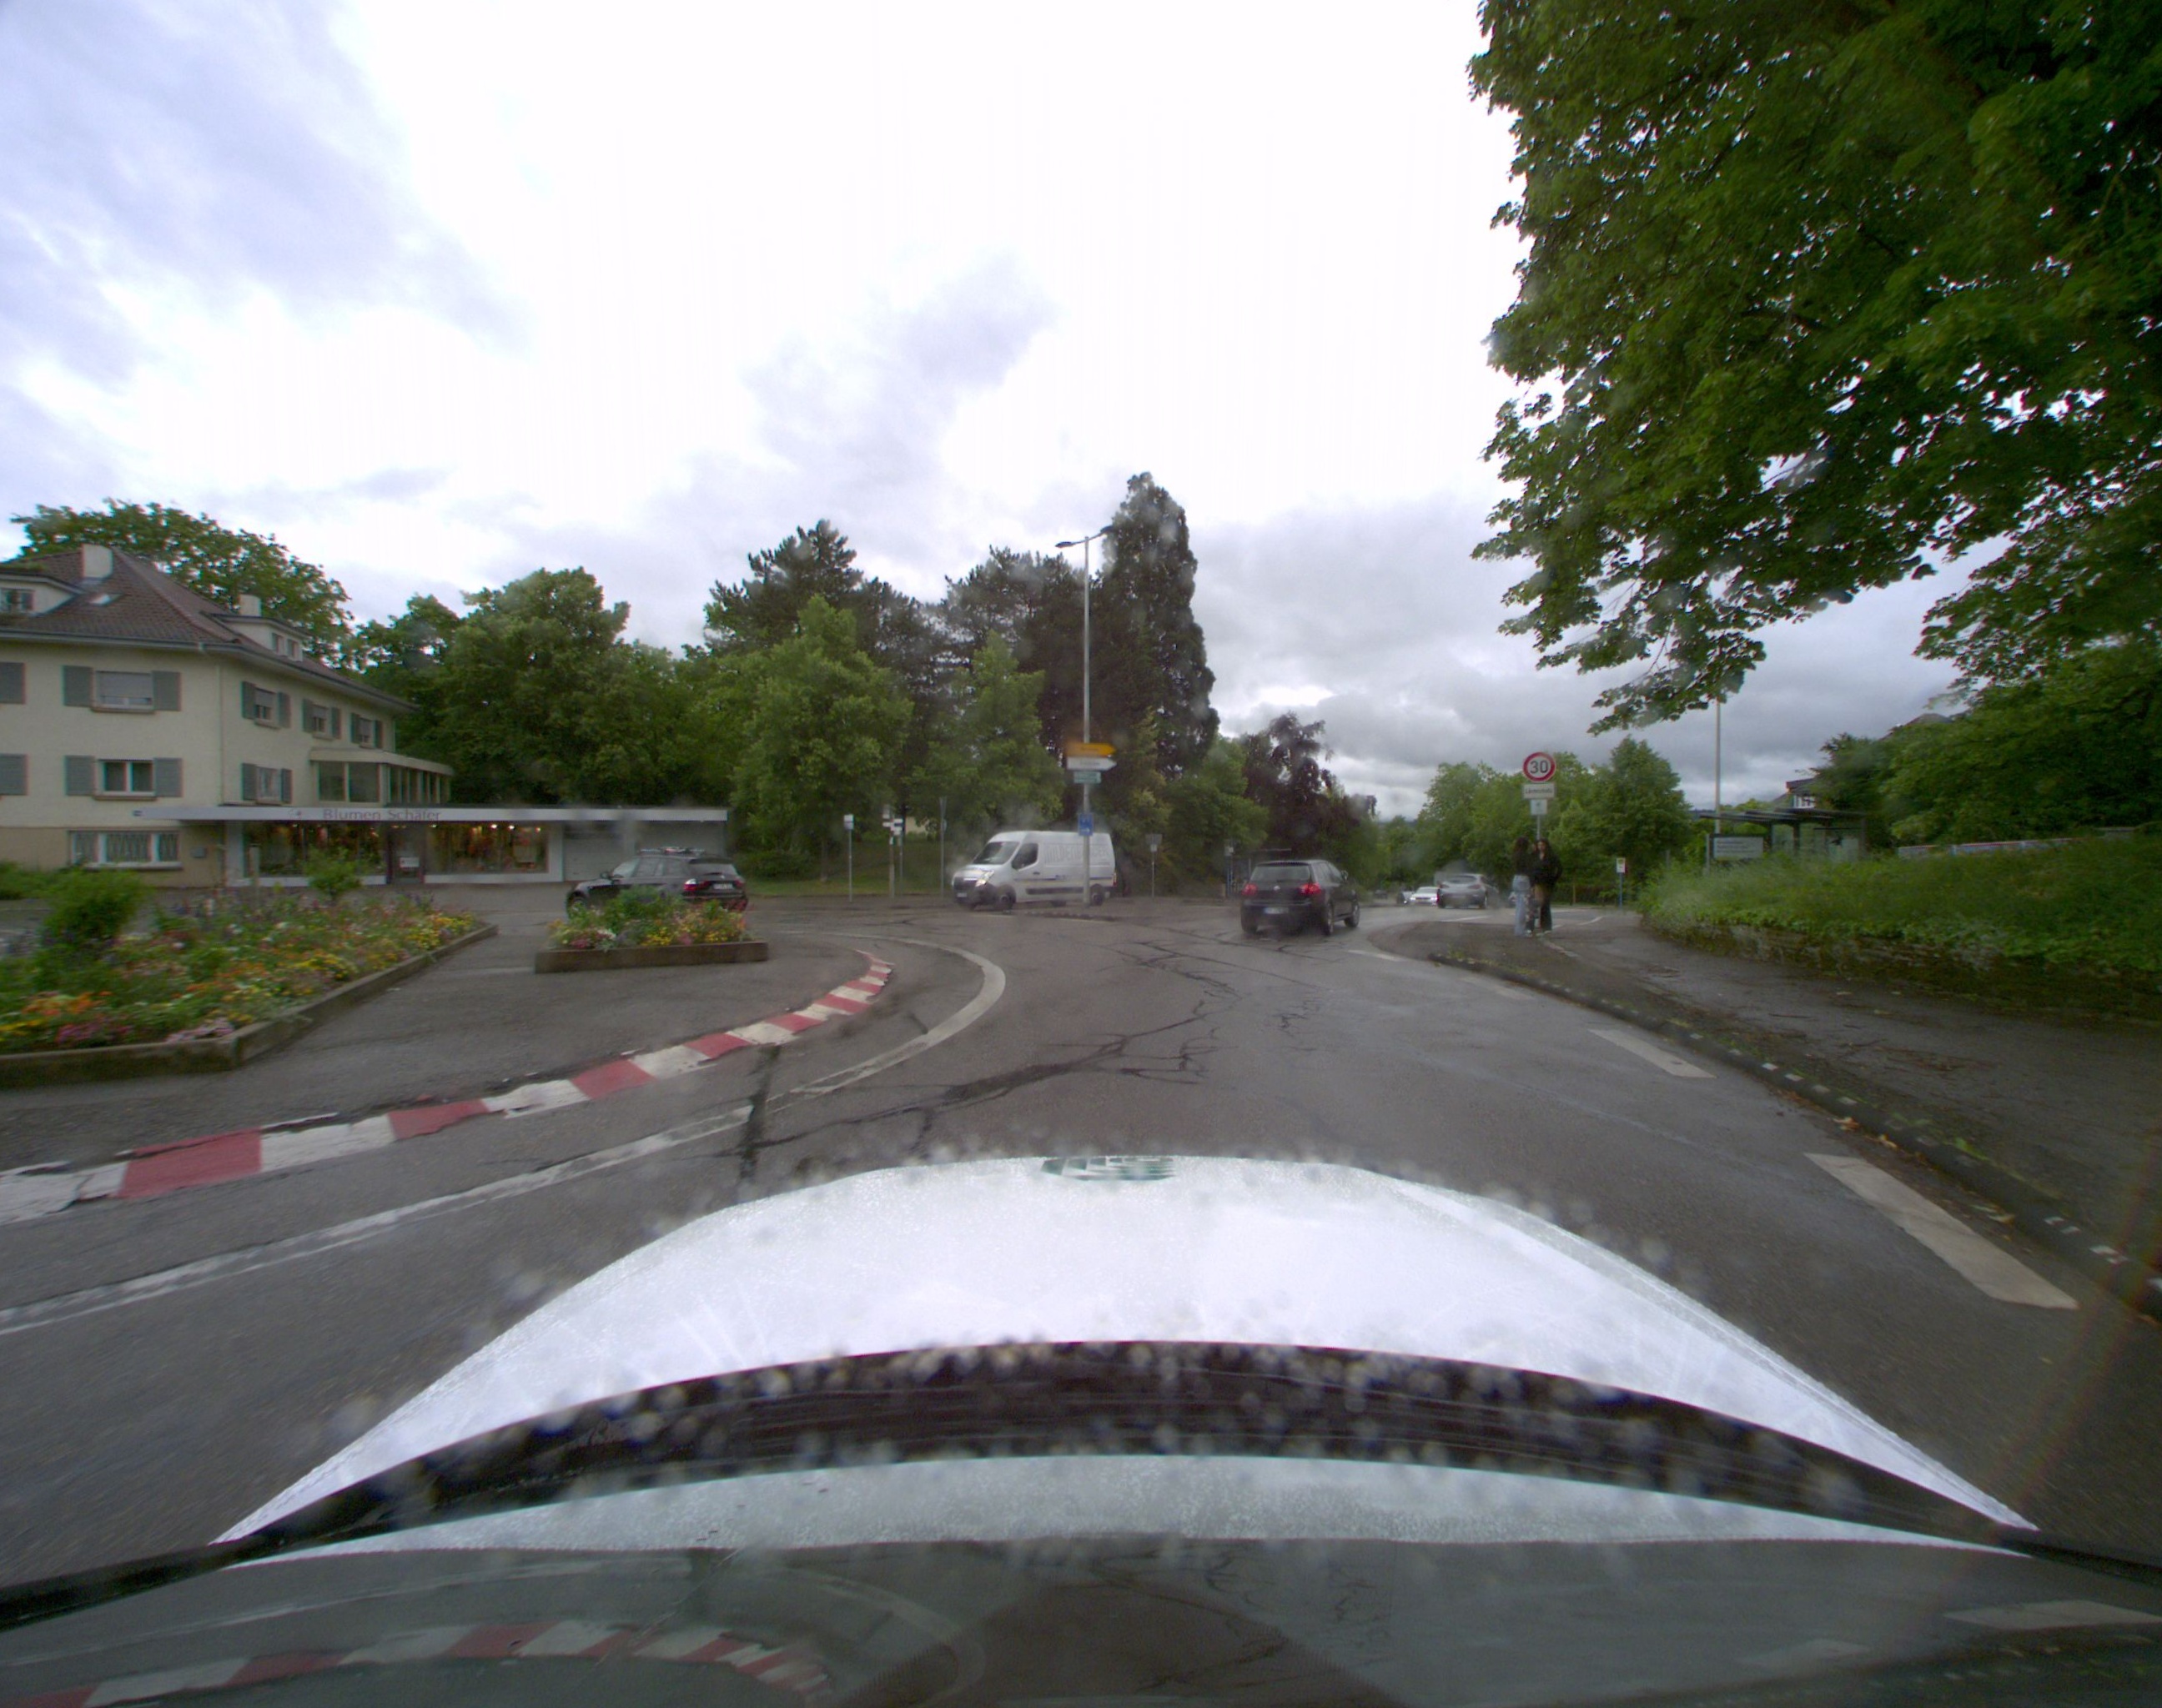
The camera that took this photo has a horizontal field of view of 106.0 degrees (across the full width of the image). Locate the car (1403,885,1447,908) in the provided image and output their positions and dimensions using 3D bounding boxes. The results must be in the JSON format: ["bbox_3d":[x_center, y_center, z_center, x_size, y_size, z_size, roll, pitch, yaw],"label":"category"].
[{"bbox_3d":[22.766,2.820,53.777,1.890,1.393,4.542,1,-3,33],"label":"car"}]

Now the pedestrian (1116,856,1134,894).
[{"bbox_3d":[2.047,0.961,37.724,0.734,1.725,0.818,1,-1,7],"label":"pedestrian"}]

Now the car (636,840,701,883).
[{"bbox_3d":[-15.530,0.265,30.824,1.819,1.486,3.804,-1,1,-21],"label":"car"}]

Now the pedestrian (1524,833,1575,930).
[{"bbox_3d":[8.435,0.490,14.678,0.631,1.713,0.530,1,-1,2],"label":"pedestrian"}]

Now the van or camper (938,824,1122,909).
[{"bbox_3d":[-1.473,0.402,25.724,5.700,2.378,2.174,2,-1,-43],"label":"van or camper"}]

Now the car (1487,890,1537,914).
[{"bbox_3d":[35.957,3.997,68.087,2.059,1.839,3.998,0,-1,-1],"label":"car"}]

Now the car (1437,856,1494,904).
[{"bbox_3d":[16.143,1.030,34.075,1.748,1.801,4.273,-2,0,30],"label":"car"}]

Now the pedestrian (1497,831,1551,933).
[{"bbox_3d":[7.670,0.473,14.117,0.531,1.713,0.630,1,-1,-29],"label":"pedestrian"}]

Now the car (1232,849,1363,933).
[{"bbox_3d":[4.651,0.710,17.081,1.748,1.538,4.024,-2,-1,28],"label":"car"}]

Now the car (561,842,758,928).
[{"bbox_3d":[-9.689,0.689,18.691,4.193,1.801,1.781,-2,0,25],"label":"car"}]
